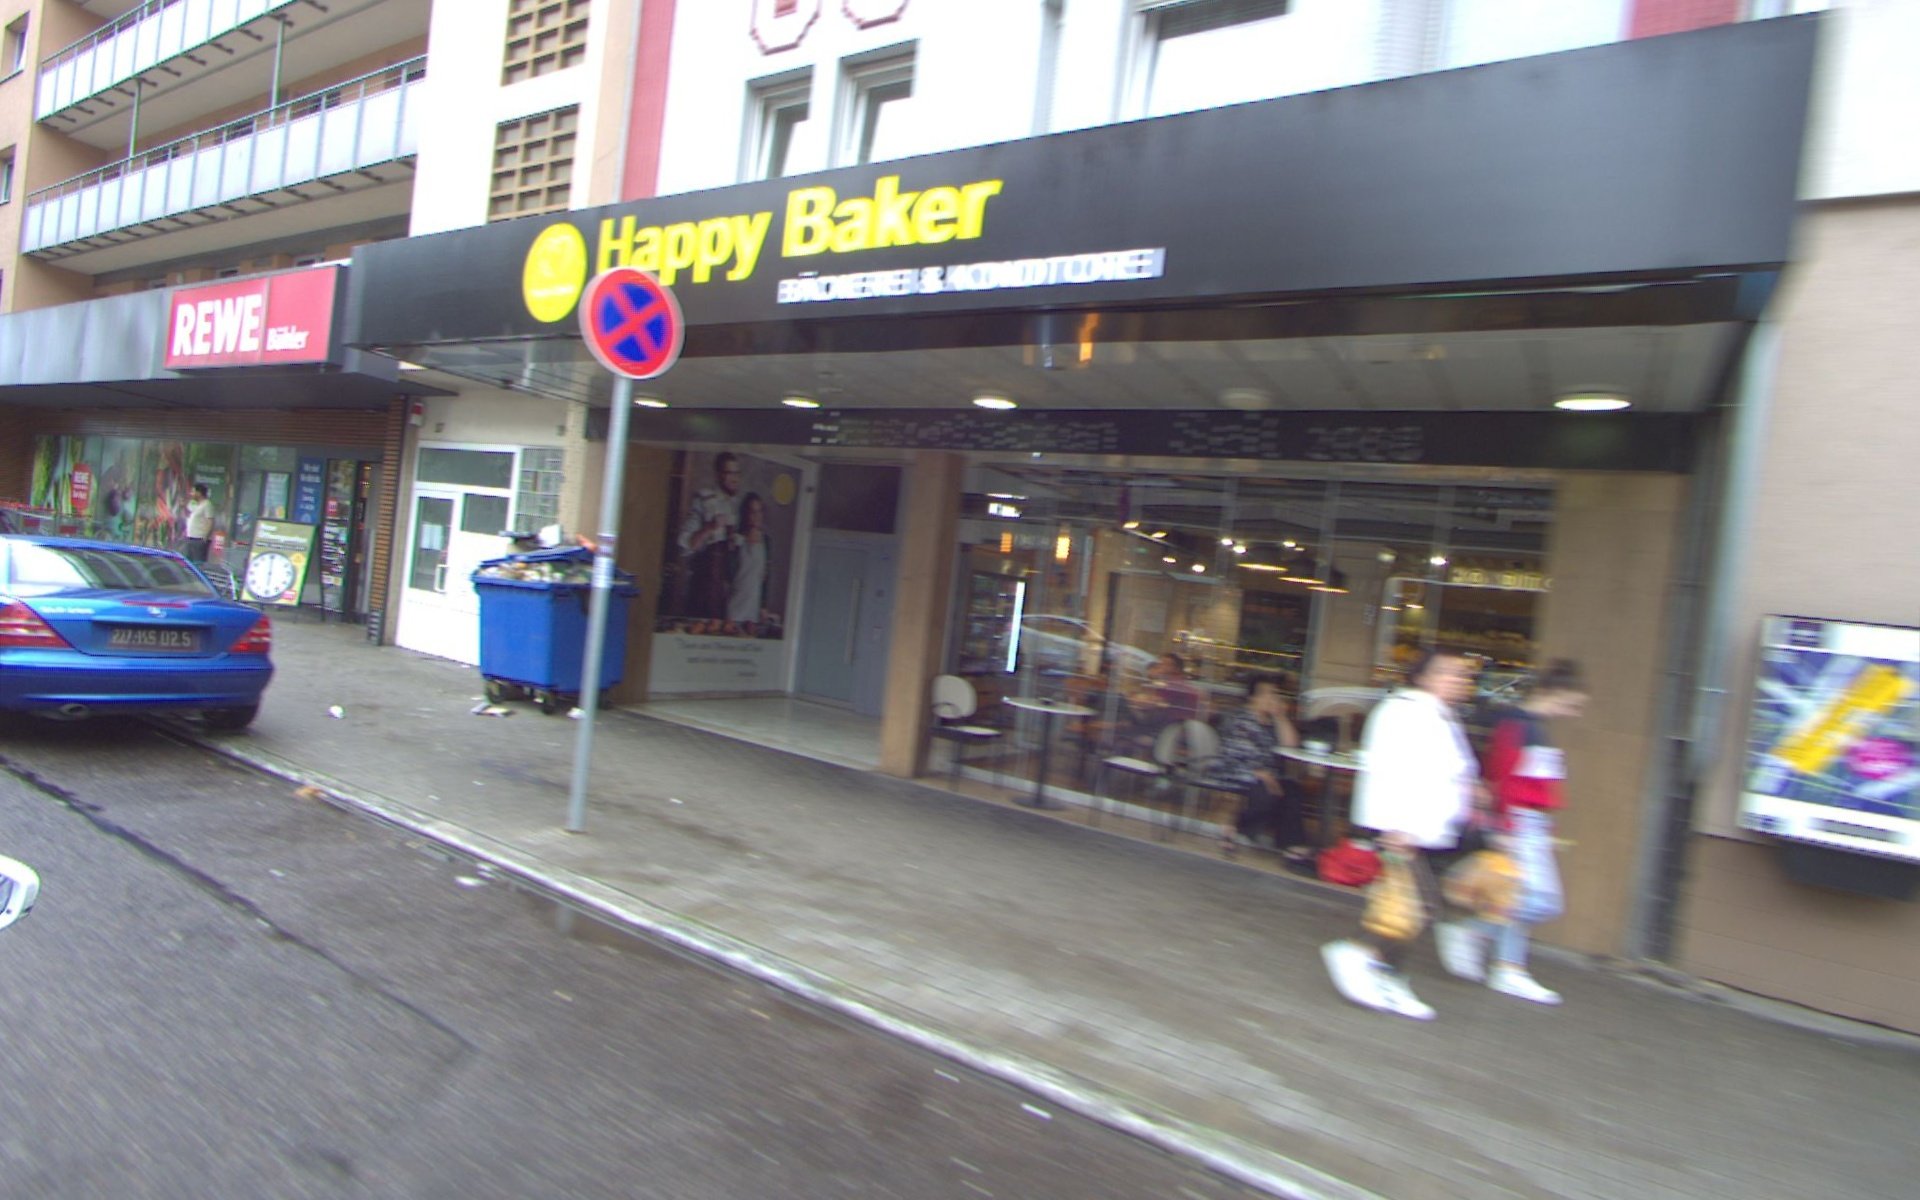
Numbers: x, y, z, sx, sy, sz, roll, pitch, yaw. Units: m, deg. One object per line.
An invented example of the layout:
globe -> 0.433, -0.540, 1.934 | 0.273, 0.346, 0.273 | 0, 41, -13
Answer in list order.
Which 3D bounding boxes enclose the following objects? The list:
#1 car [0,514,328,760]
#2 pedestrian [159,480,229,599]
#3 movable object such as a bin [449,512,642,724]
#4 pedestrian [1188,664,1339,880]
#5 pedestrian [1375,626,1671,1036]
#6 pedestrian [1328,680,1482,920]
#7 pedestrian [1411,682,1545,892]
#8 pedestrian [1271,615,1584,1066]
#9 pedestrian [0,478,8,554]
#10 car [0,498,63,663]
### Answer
car -> -6.560, 0.133, 7.428 | 3.706, 1.326, 1.736 | 7, 0, 33
pedestrian -> -12.713, -1.005, 16.689 | 0.716, 1.881, 0.596 | 6, 0, 36
movable object such as a bin -> -3.952, 0.161, 9.618 | 1.274, 1.816, 1.000 | 6, 1, 30
pedestrian -> 2.025, 1.103, 6.715 | 0.649, 1.275, 0.621 | 8, 3, 40
pedestrian -> 2.583, 1.008, 4.685 | 0.694, 1.669, 0.778 | 4, 3, -23
pedestrian -> 2.766, 1.186, 6.237 | 0.647, 1.275, 0.701 | 7, 3, 32
pedestrian -> 3.646, 1.270, 7.069 | 0.647, 1.275, 0.701 | 7, 3, 32
pedestrian -> 1.953, 0.951, 4.289 | 0.694, 1.669, 0.778 | 4, 3, -23
pedestrian -> -20.634, -1.820, 21.142 | 0.615, 1.592, 0.563 | 7, 1, 16
car -> -11.200, -0.479, 10.407 | 3.916, 1.564, 1.735 | 7, -3, 33
